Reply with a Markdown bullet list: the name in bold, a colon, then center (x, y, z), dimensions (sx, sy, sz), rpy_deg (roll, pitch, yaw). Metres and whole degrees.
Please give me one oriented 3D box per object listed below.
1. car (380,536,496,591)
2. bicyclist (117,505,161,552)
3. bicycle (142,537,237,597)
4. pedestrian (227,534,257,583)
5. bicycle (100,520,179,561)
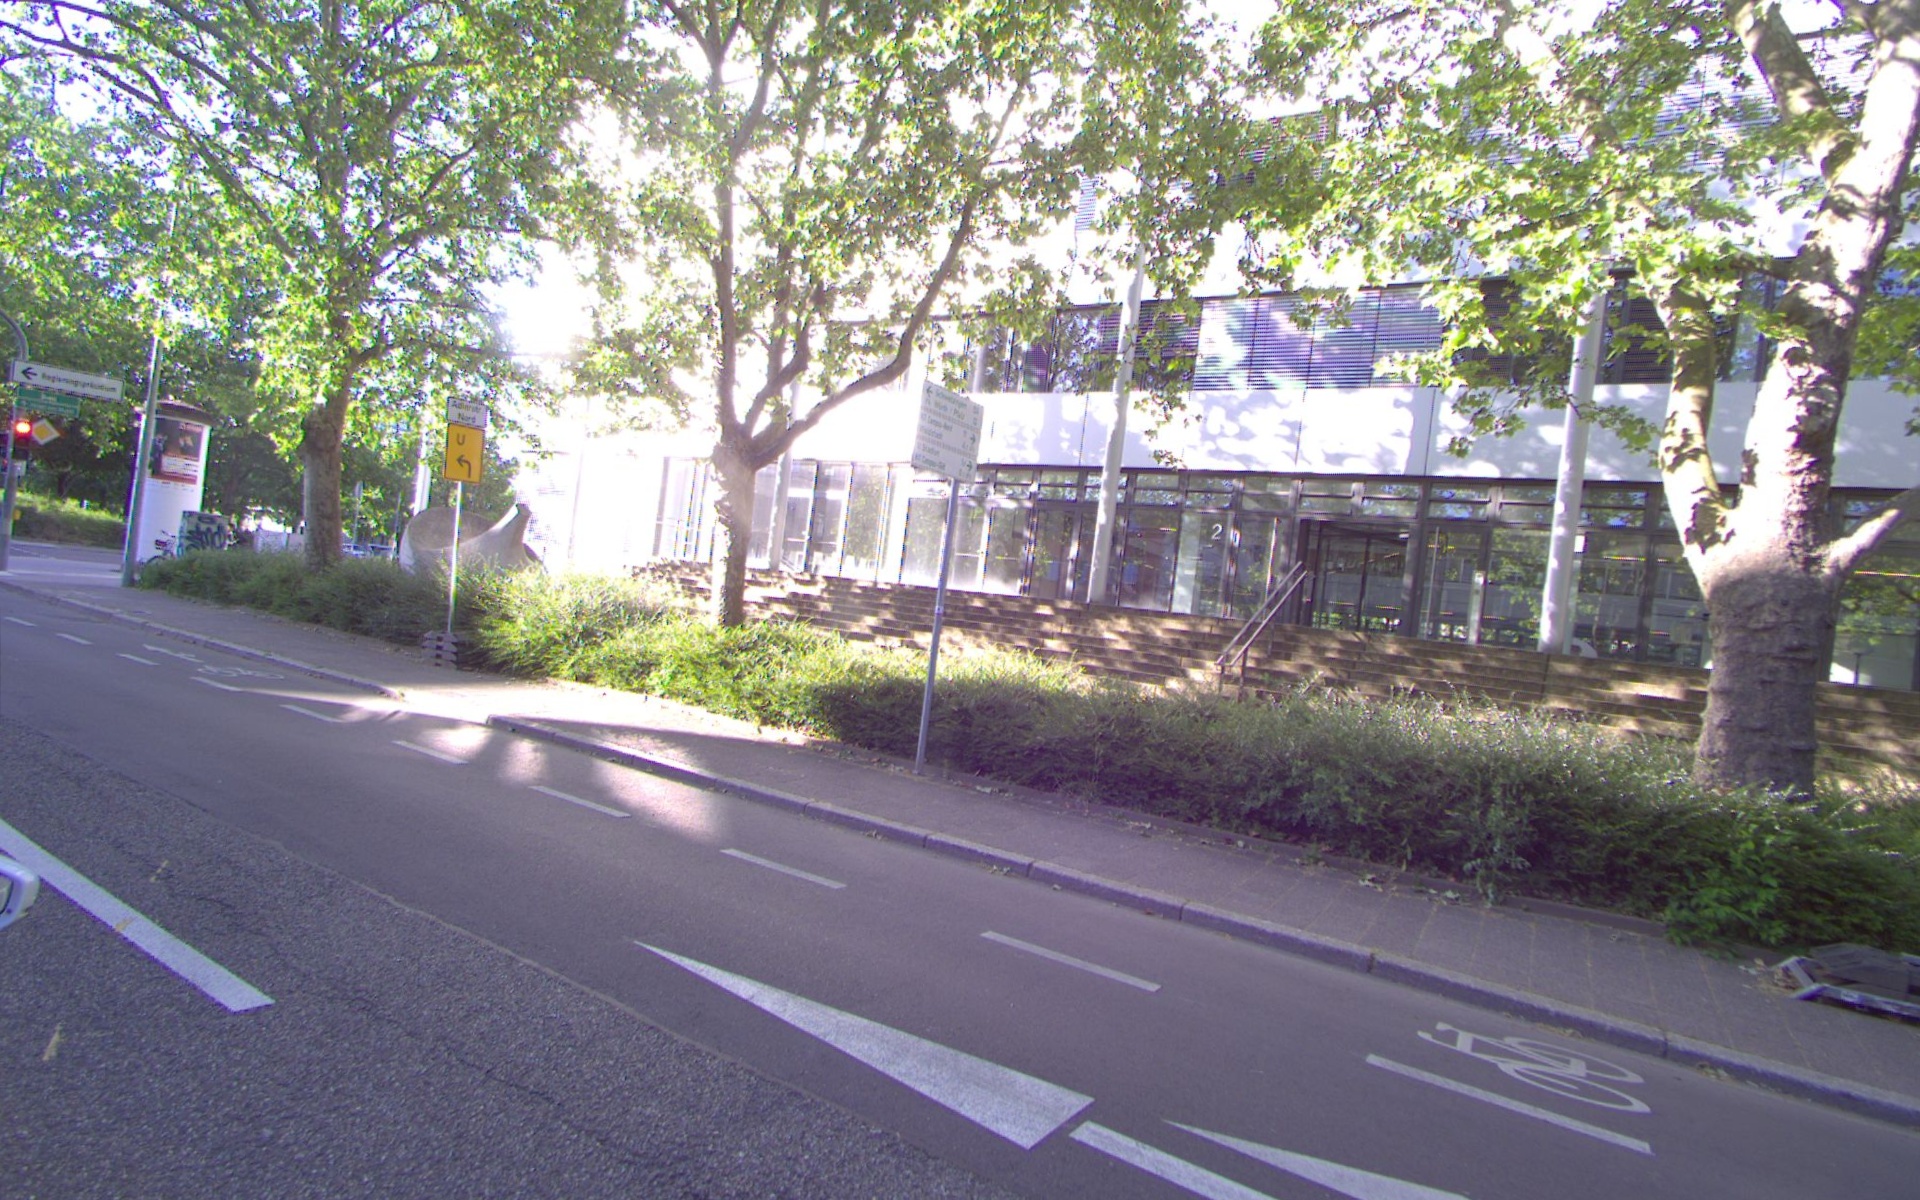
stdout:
- **car**: center (-23.197, -1.611, 44.802), dimensions (1.969, 1.805, 3.998), rpy_deg (7, -2, 36)
- **bicyclist**: center (-30.681, -2.659, 37.589), dimensions (0.869, 1.572, 0.816), rpy_deg (7, 0, 22)
- **bicycle**: center (-16.235, -0.682, 21.238), dimensions (0.529, 1.049, 1.418), rpy_deg (7, -1, 28)
- **pedestrian**: center (-28.552, -1.646, 40.023), dimensions (0.620, 1.805, 0.620), rpy_deg (7, 0, 34)
- **bicycle**: center (-30.694, -2.224, 37.667), dimensions (0.869, 1.199, 2.004), rpy_deg (7, -1, 22)
